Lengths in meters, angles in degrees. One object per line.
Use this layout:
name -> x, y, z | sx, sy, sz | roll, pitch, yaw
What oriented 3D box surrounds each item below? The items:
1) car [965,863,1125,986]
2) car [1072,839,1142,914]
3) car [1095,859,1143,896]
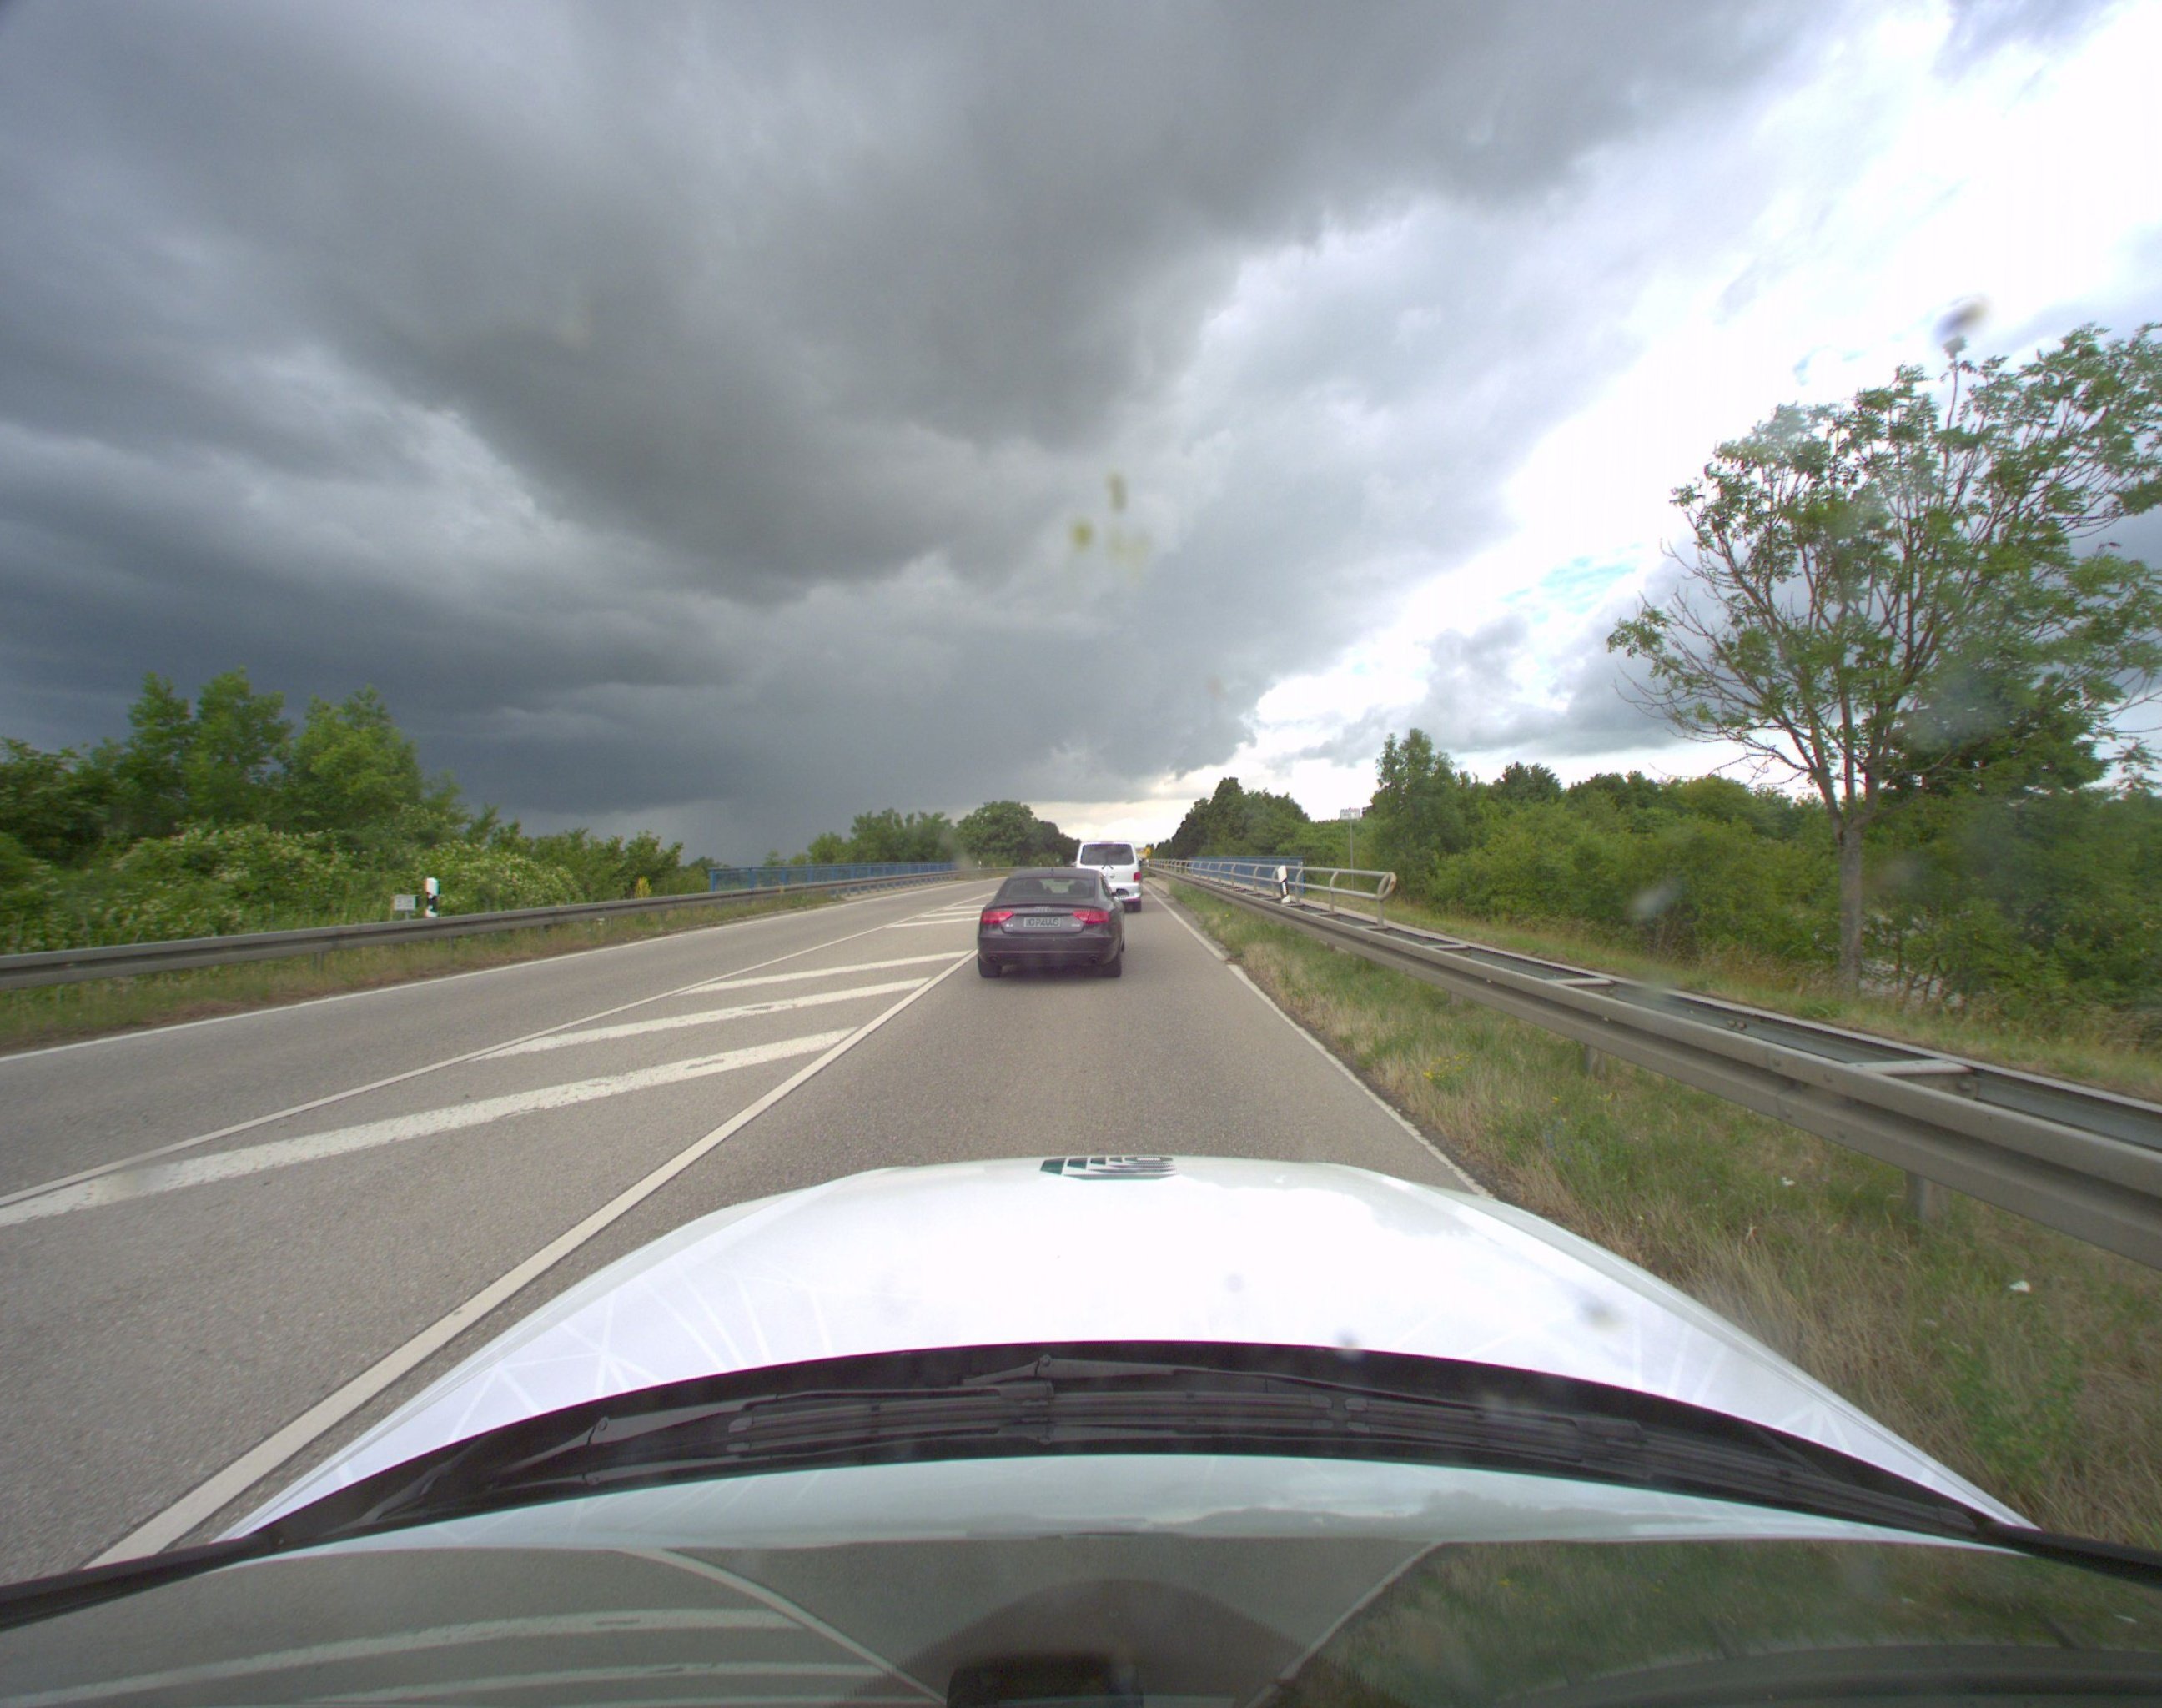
car -> -0.309, 0.845, 11.510 | 1.814, 1.381, 4.075 | -1, -1, 3
car -> 0.764, 0.608, 23.540 | 1.821, 1.935, 4.002 | -1, -1, 2
car -> 1.578, 0.922, 33.244 | 1.814, 1.381, 4.075 | -1, -1, 3
